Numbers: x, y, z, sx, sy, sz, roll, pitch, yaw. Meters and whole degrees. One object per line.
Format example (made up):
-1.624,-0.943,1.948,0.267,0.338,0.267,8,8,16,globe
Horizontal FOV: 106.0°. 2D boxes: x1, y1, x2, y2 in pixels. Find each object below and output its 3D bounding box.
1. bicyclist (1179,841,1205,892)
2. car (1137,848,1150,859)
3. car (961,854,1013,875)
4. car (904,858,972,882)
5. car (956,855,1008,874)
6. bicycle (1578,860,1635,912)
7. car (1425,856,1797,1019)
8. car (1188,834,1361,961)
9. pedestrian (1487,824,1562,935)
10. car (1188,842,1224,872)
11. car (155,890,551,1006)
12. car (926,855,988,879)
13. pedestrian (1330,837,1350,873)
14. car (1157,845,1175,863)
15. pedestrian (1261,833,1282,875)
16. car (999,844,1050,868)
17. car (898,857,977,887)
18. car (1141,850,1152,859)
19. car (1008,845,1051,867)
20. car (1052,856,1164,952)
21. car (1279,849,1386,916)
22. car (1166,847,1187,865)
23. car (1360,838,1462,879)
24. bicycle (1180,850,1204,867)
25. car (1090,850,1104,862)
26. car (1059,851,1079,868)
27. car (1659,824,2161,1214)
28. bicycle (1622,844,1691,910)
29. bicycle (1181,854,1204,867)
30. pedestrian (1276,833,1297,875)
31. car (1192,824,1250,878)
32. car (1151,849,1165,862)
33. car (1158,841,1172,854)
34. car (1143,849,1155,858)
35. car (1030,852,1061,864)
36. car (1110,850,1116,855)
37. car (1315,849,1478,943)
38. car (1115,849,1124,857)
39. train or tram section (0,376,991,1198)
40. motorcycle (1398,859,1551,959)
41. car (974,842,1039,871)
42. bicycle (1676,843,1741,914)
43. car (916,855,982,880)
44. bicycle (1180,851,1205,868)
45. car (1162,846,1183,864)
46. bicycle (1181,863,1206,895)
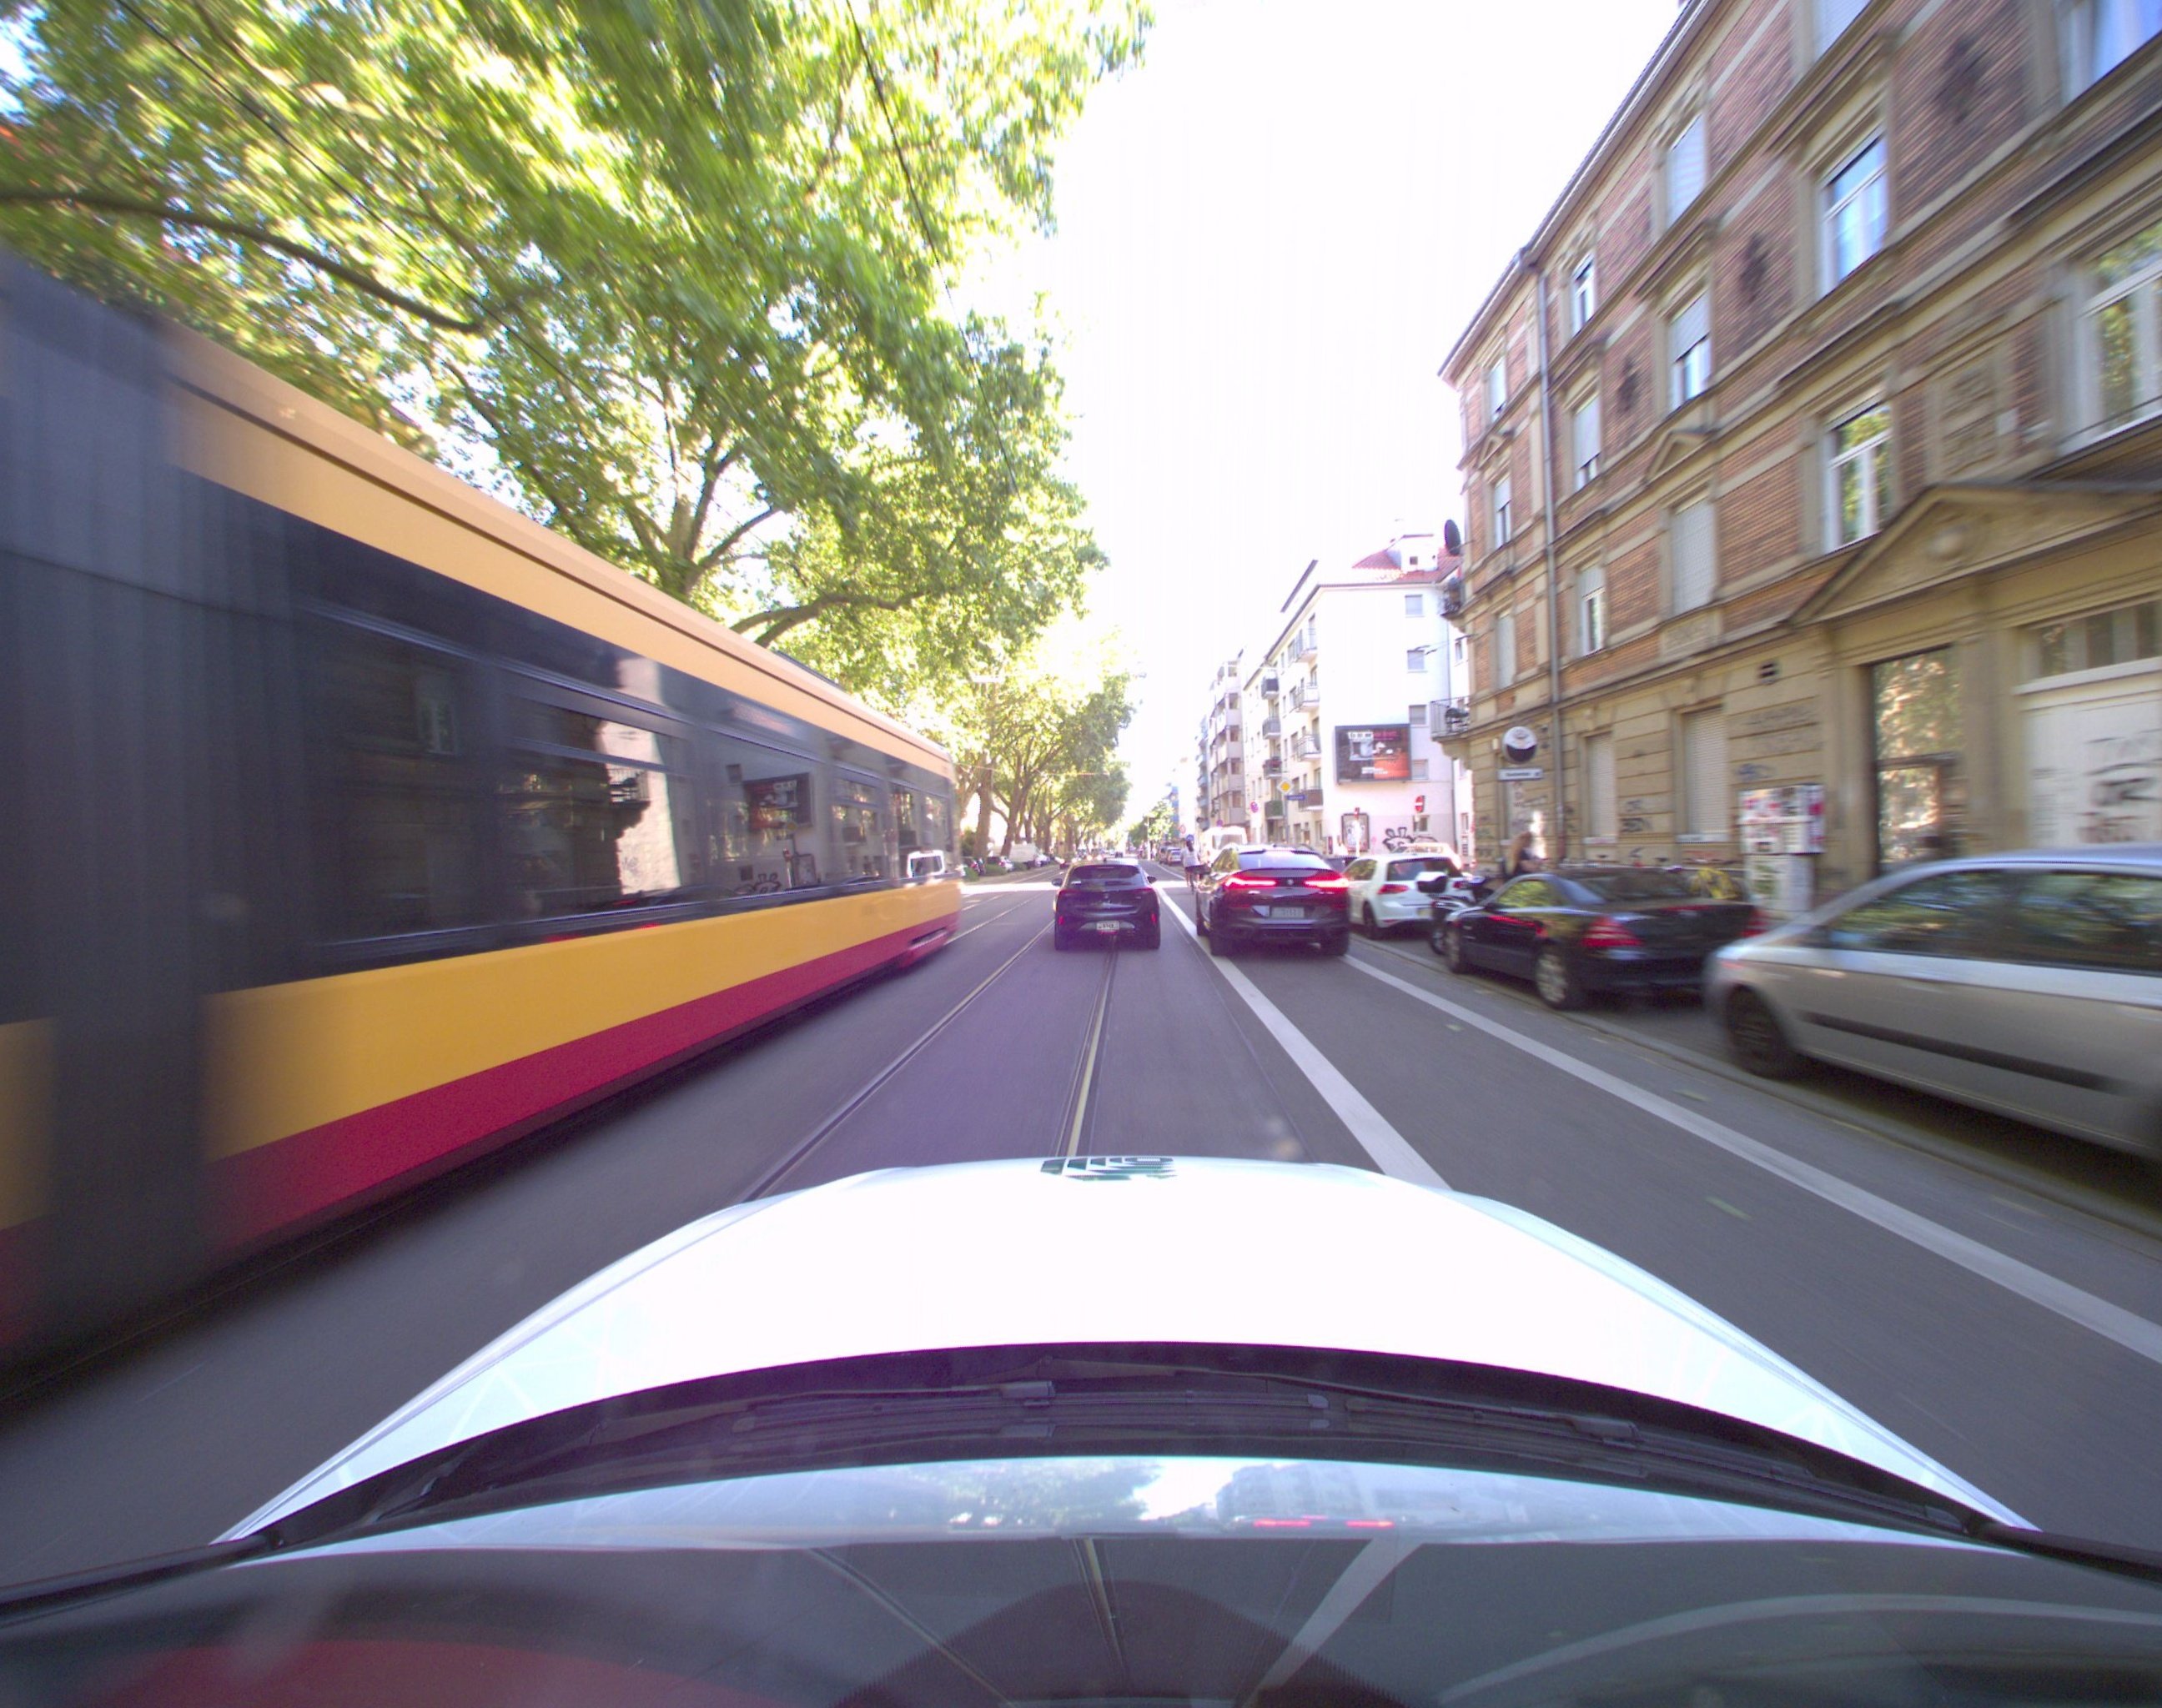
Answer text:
3.921,0.439,28.807,0.783,1.759,0.915,-2,0,2,bicyclist
9.826,-0.108,127.922,1.850,1.651,4.005,-2,0,5,car
-7.681,0.862,66.756,3.970,1.496,1.832,-2,0,3,car
-9.238,1.012,52.780,3.968,1.369,1.607,-2,0,4,car
-7.779,0.827,64.278,3.777,1.460,1.706,-1,0,3,car
10.827,0.641,16.816,0.376,1.001,1.374,-2,0,5,bicycle
5.261,0.710,8.749,1.642,1.272,3.727,-4,0,3,car
2.931,0.589,13.395,1.936,1.704,4.633,-1,0,3,car
6.905,0.383,12.710,0.760,1.657,0.717,-2,0,3,pedestrian
7.979,0.185,52.267,1.850,1.820,4.355,-1,0,4,car
-10.532,1.327,12.037,4.129,1.497,1.905,0,0,1,car
-8.772,0.910,57.658,3.968,1.460,1.707,-2,0,4,car
11.394,0.054,35.828,0.629,1.580,0.934,0,-1,5,pedestrian
9.649,-0.008,92.426,1.850,1.890,4.931,-2,0,5,car
8.588,0.012,36.748,0.706,1.822,1.083,-3,-1,5,pedestrian
-6.272,0.232,90.998,5.338,2.477,2.059,-2,0,3,car
-7.958,1.002,45.512,3.971,1.460,1.880,-2,-1,2,car
11.866,0.026,147.844,1.712,1.490,3.683,-2,0,1,car
-6.282,0.233,99.703,4.928,2.567,2.082,-2,0,-1,car
0.491,0.762,14.112,1.673,1.422,3.630,0,0,3,car
6.207,0.652,20.517,1.641,1.420,4.065,-4,0,4,car
9.004,0.174,77.144,1.716,1.525,4.518,-2,0,5,car
13.779,0.182,34.171,3.629,1.574,1.794,-2,0,8,car
8.782,0.379,64.633,1.816,1.191,0.457,-4,0,2,bicycle
2.011,0.243,103.566,1.712,1.510,3.724,-2,0,1,car
-1.065,0.516,74.629,1.629,1.510,3.693,-1,0,1,car
5.038,0.618,4.194,1.599,1.452,3.746,-4,0,4,car
10.696,0.409,15.170,0.376,1.154,1.374,-2,0,5,bicycle
8.784,0.508,64.132,1.646,0.966,0.457,-4,0,2,bicycle
9.258,0.006,36.697,0.622,1.822,1.083,-3,-1,5,pedestrian
7.108,-0.133,42.001,2.140,2.495,6.092,-2,0,3,car
10.341,0.143,109.553,1.850,1.651,4.005,-2,0,5,car
12.061,-0.931,117.189,1.850,1.651,4.005,-2,0,5,car
11.854,-0.094,142.090,1.713,1.574,4.083,-2,0,-1,car
-4.799,0.583,110.835,3.972,1.522,1.772,-2,0,1,car
9.044,-0.410,233.510,1.673,1.422,3.630,0,0,3,car
5.676,0.677,15.187,1.595,1.420,4.016,-4,0,3,car
8.215,-0.275,174.371,1.742,1.651,4.005,-2,0,5,car
-3.495,-0.276,9.188,2.923,3.619,11.075,0,0,4,train or tram section
5.675,0.755,11.733,2.140,1.289,0.639,-2,0,-19,motorcycle
-6.946,0.201,76.289,5.716,2.536,2.164,-1,0,3,car
10.664,0.395,13.873,0.272,1.154,1.140,-2,0,5,bicycle
-8.848,0.896,54.837,3.968,1.460,1.773,-2,0,4,car
8.634,0.440,62.982,1.786,1.148,0.705,-4,0,2,bicycle
9.419,0.062,83.834,1.760,1.705,4.285,-2,0,2,car
3.973,0.866,28.794,0.698,1.092,1.991,0,0,3,bicycle
